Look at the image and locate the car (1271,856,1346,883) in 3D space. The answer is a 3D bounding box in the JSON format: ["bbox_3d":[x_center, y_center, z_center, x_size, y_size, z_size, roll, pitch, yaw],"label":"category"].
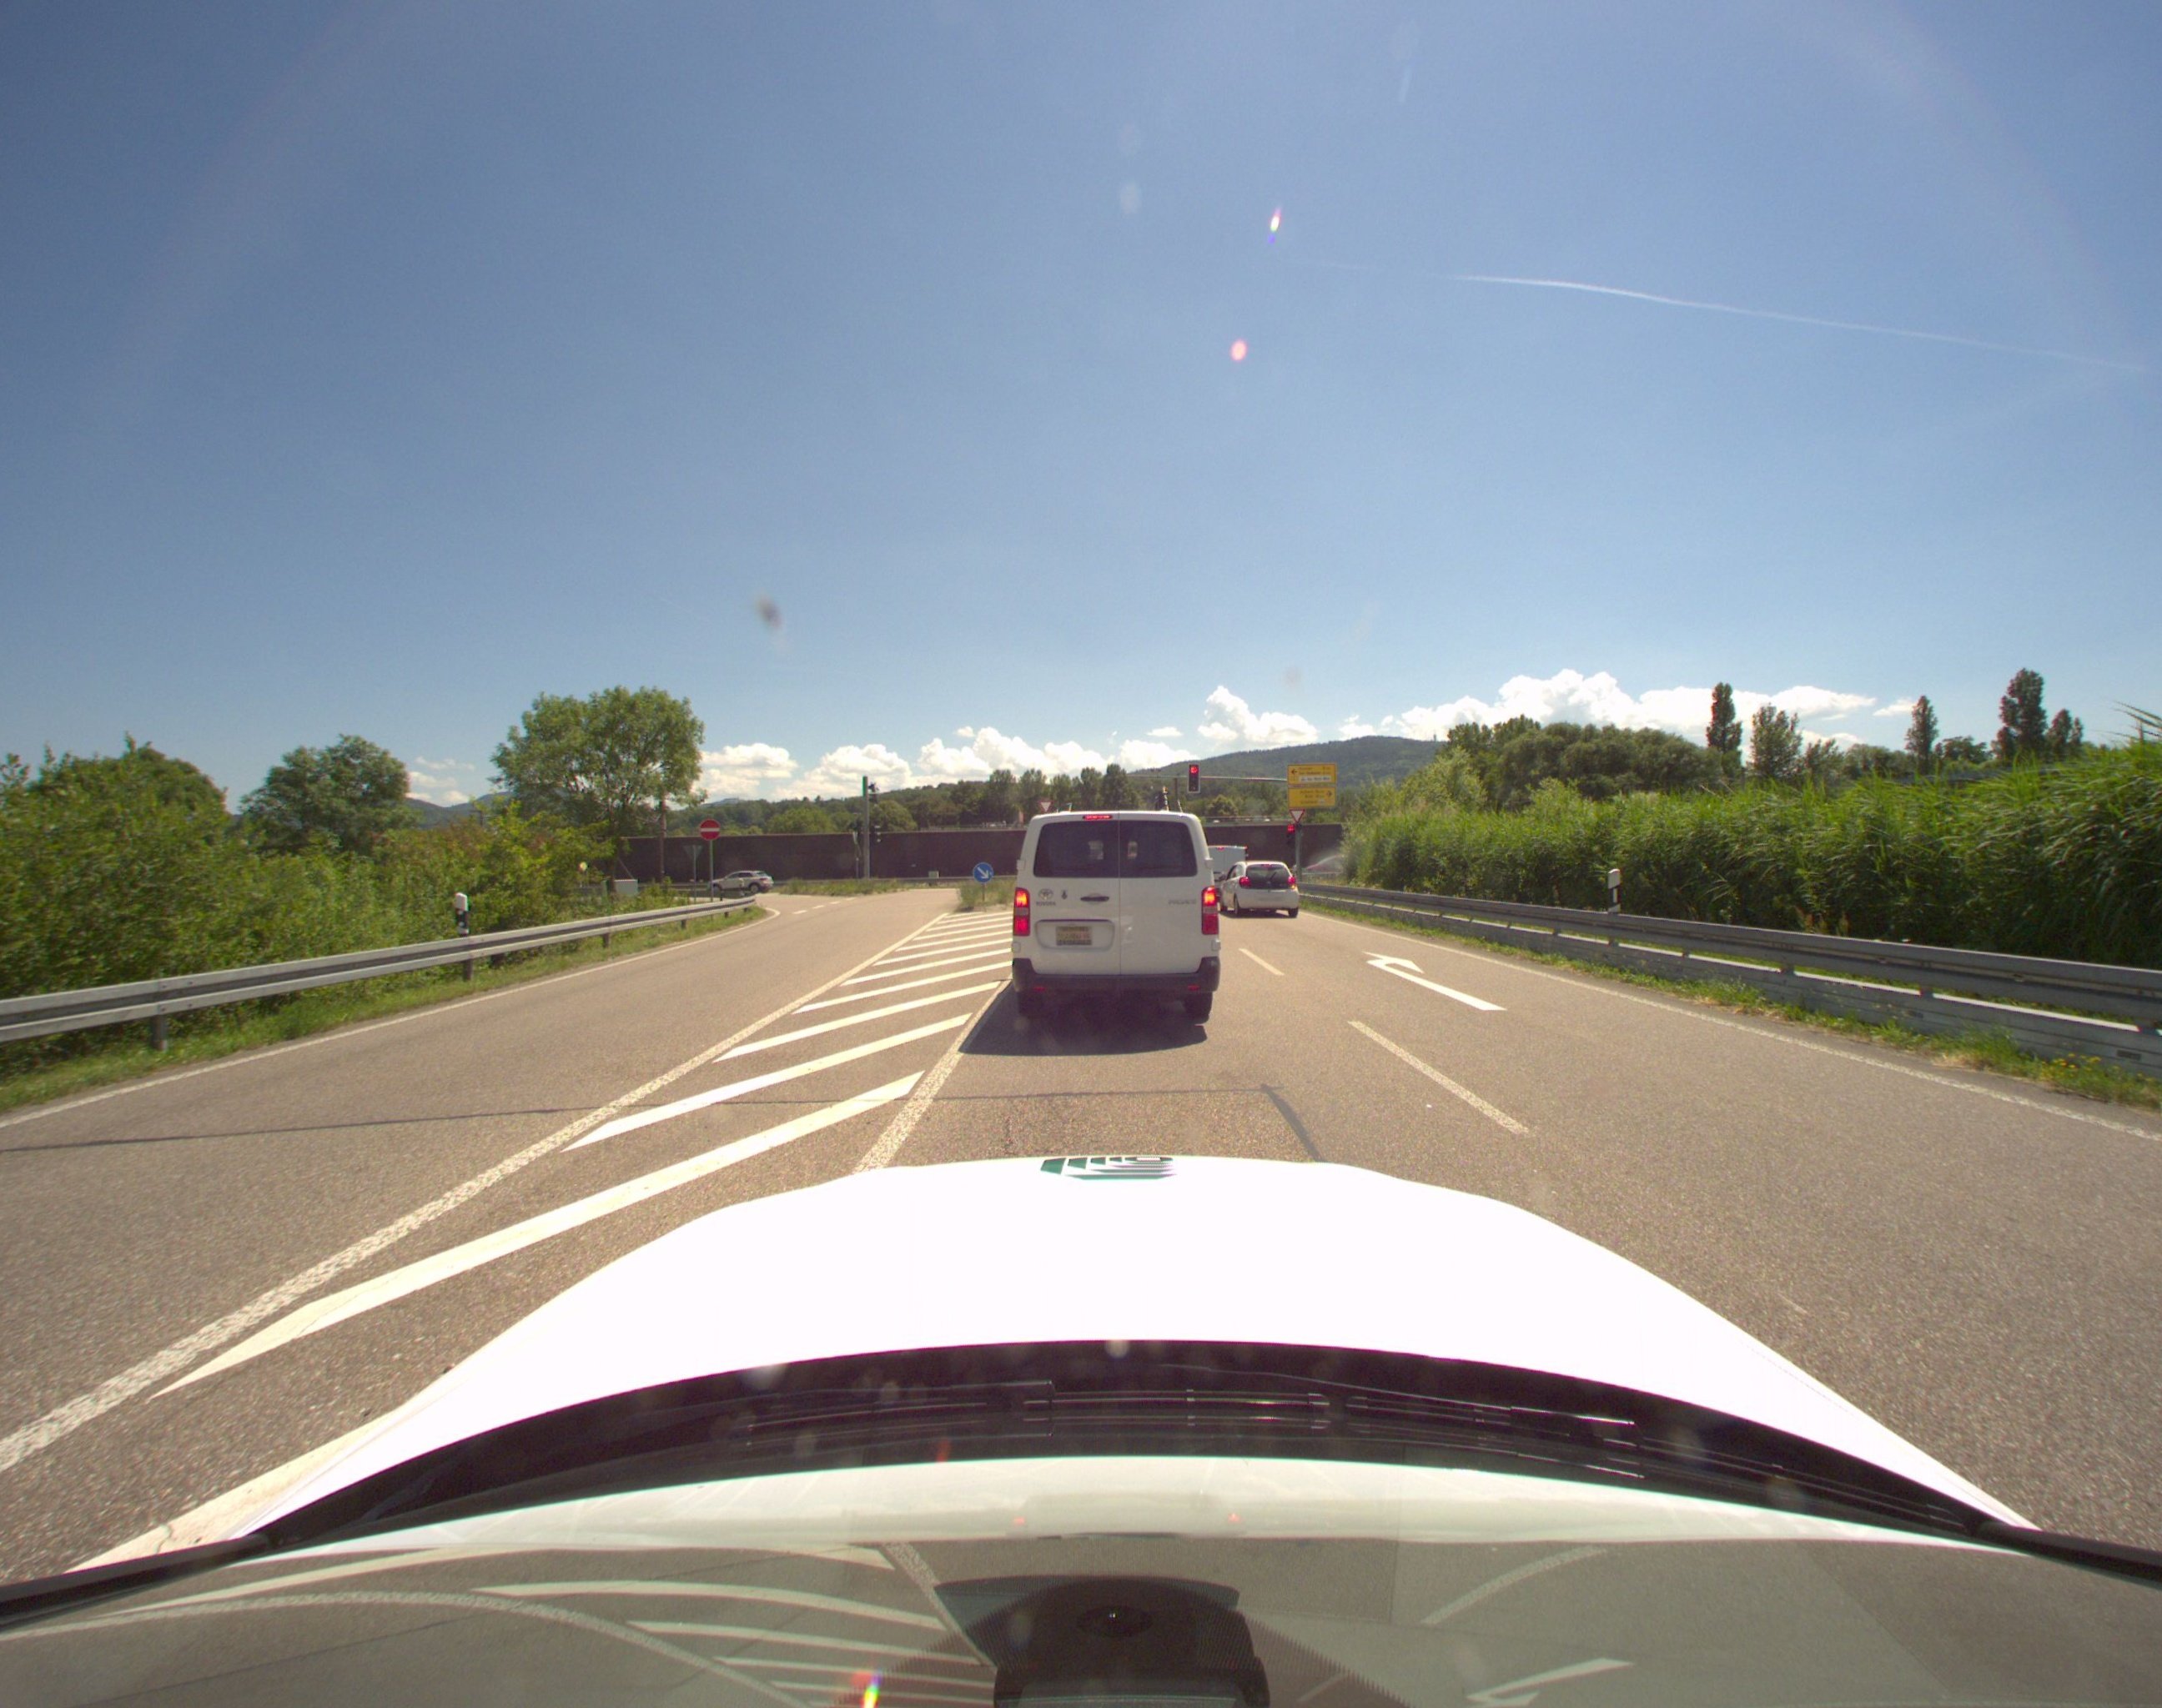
[{"bbox_3d":[14.651,0.973,52.554,4.297,1.656,1.999,-1,-1,-1],"label":"car"}]

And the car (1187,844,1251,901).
[{"bbox_3d":[5.184,0.667,31.200,1.920,2.000,4.842,0,-1,4],"label":"car"}]

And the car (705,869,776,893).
[{"bbox_3d":[-22.981,1.814,55.070,3.976,1.485,1.999,-1,-1,-2],"label":"car"}]

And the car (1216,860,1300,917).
[{"bbox_3d":[4.759,0.891,22.265,1.650,1.431,3.366,0,-1,2],"label":"car"}]

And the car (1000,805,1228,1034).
[{"bbox_3d":[0.328,0.568,8.765,1.880,1.886,4.001,0,-1,2],"label":"car"}]
